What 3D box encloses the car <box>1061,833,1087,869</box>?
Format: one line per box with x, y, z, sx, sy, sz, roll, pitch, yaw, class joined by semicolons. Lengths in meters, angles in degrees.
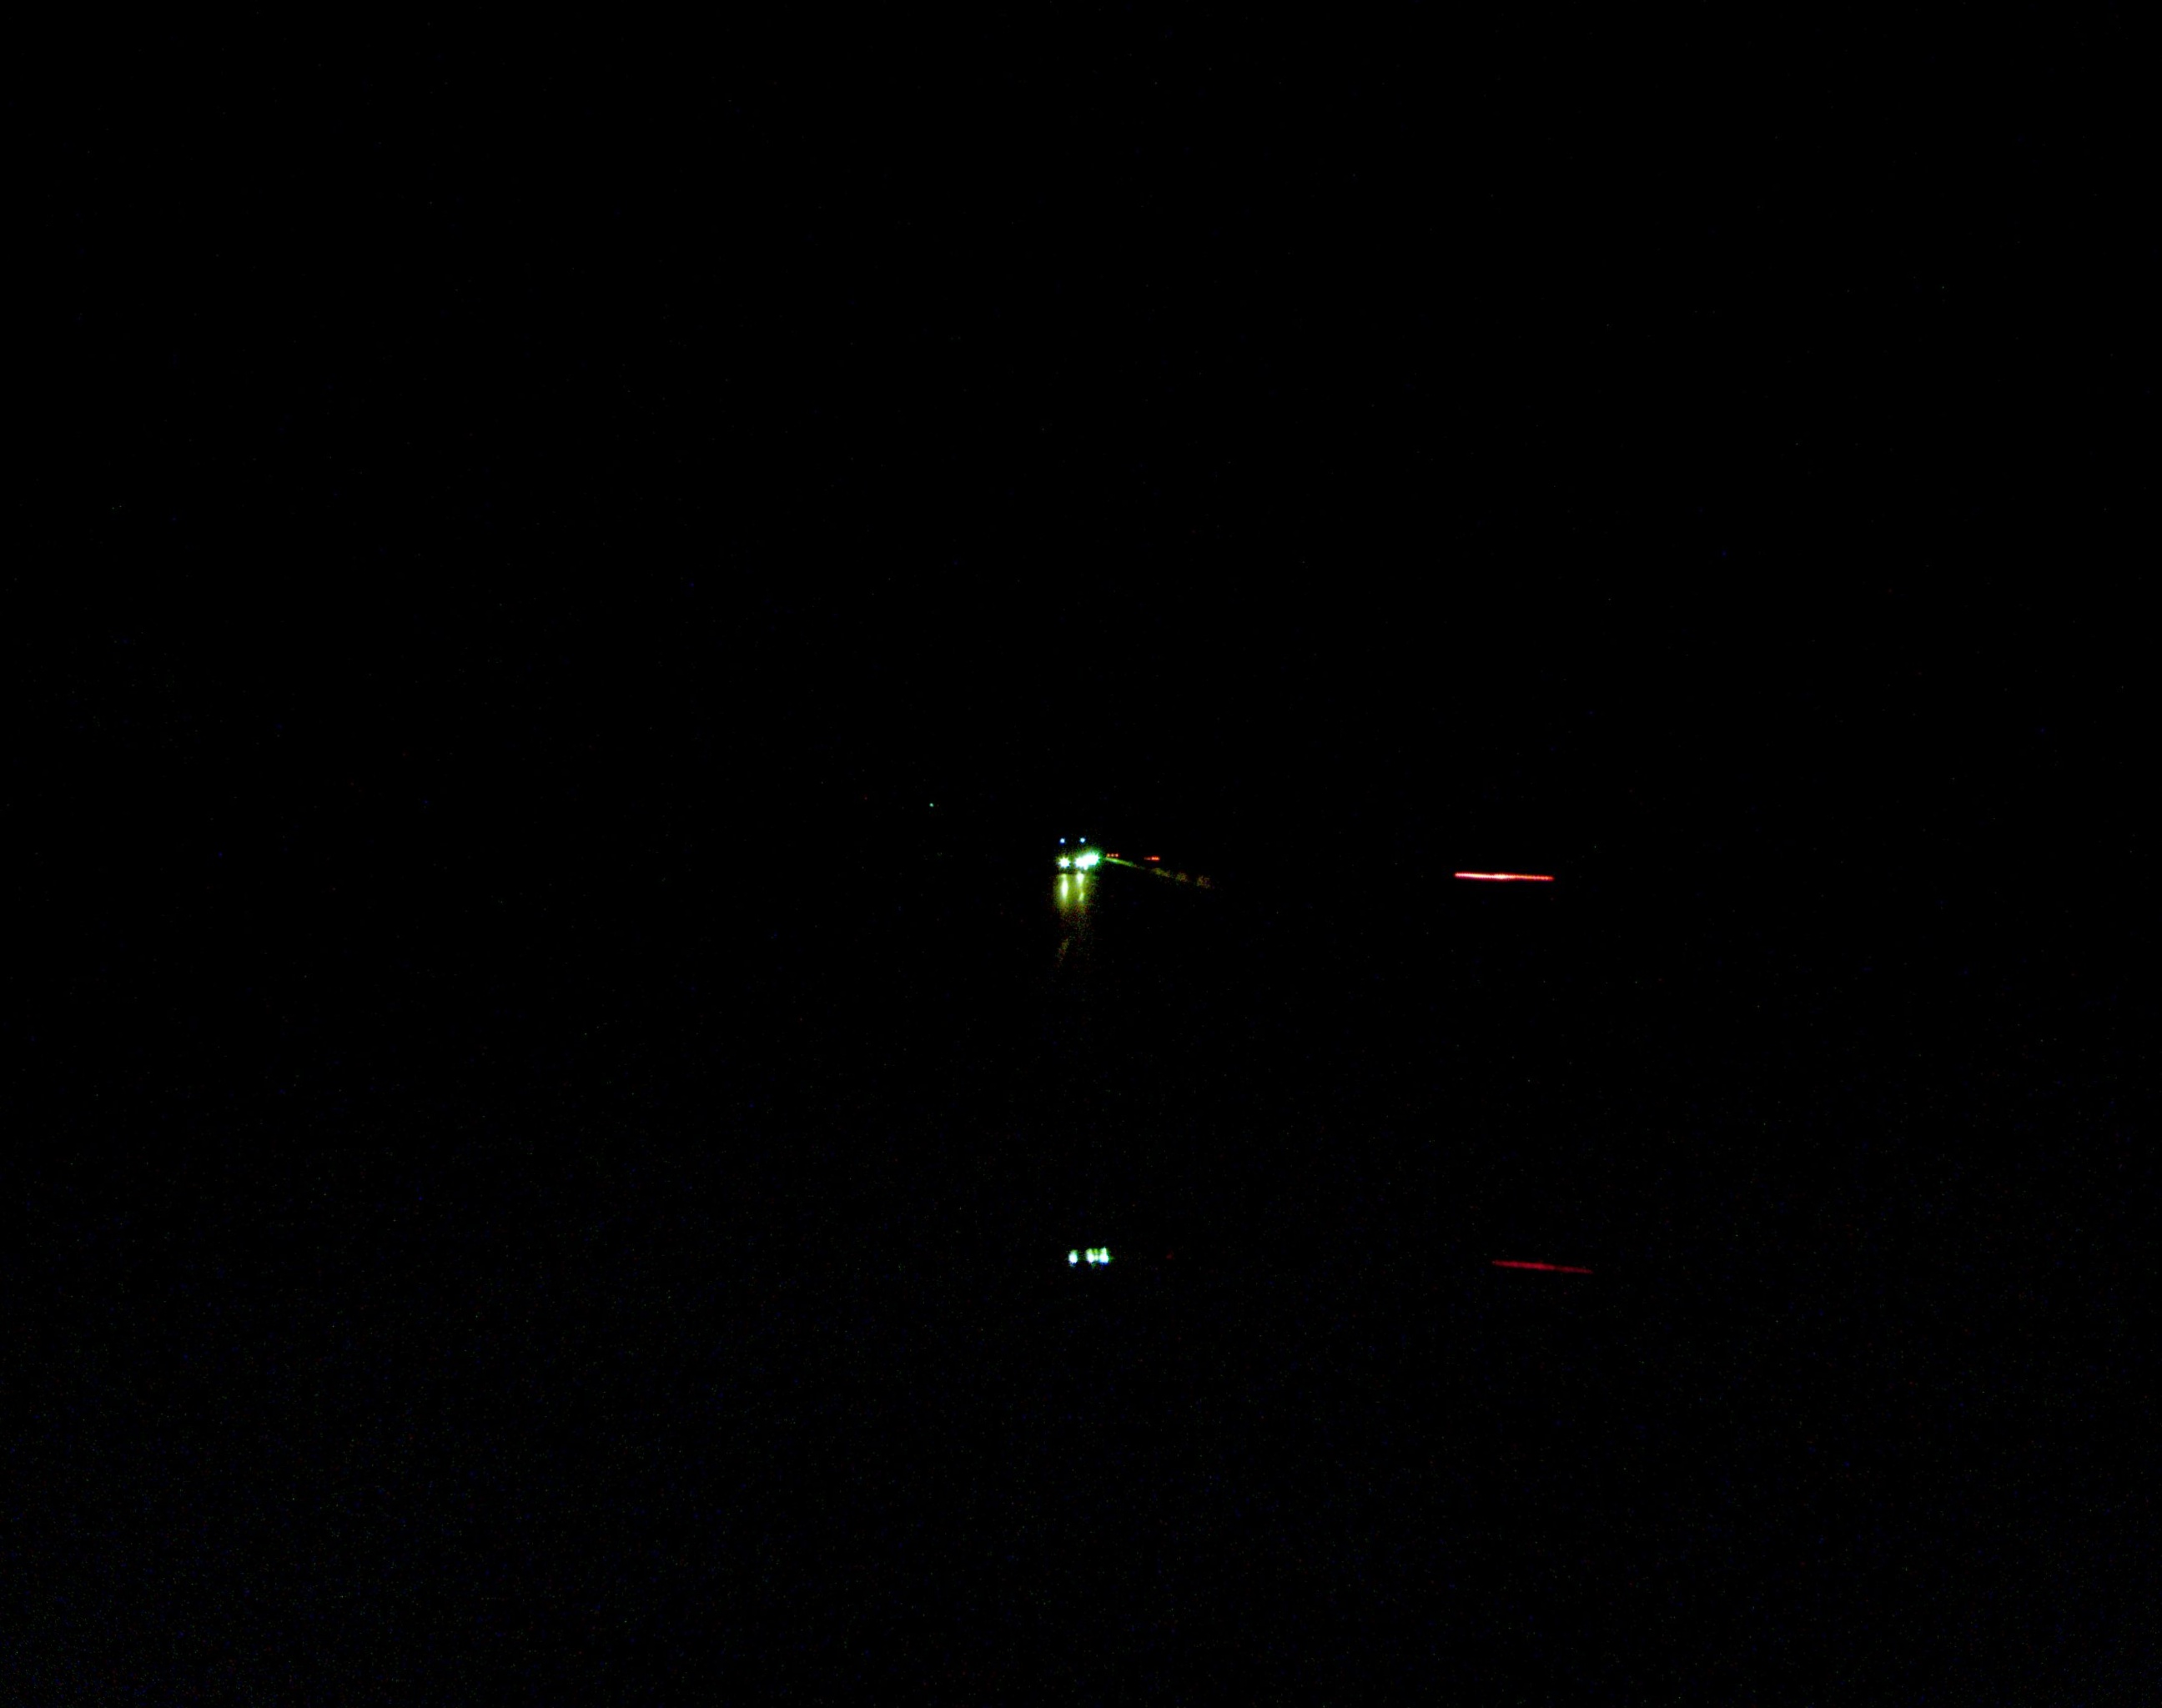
-0.605;-0.293;72.790;2.255;3.205;6.878;-1;1;1;car

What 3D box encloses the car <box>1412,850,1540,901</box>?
13.765;0.668;26.898;1.908;1.633;5.298;0;0;2;car

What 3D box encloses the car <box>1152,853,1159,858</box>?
22.035;0.466;224.930;1.968;1.529;5.185;0;0;2;car

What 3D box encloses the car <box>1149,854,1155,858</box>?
24.535;0.558;262.096;1.908;1.275;4.350;0;0;2;car
